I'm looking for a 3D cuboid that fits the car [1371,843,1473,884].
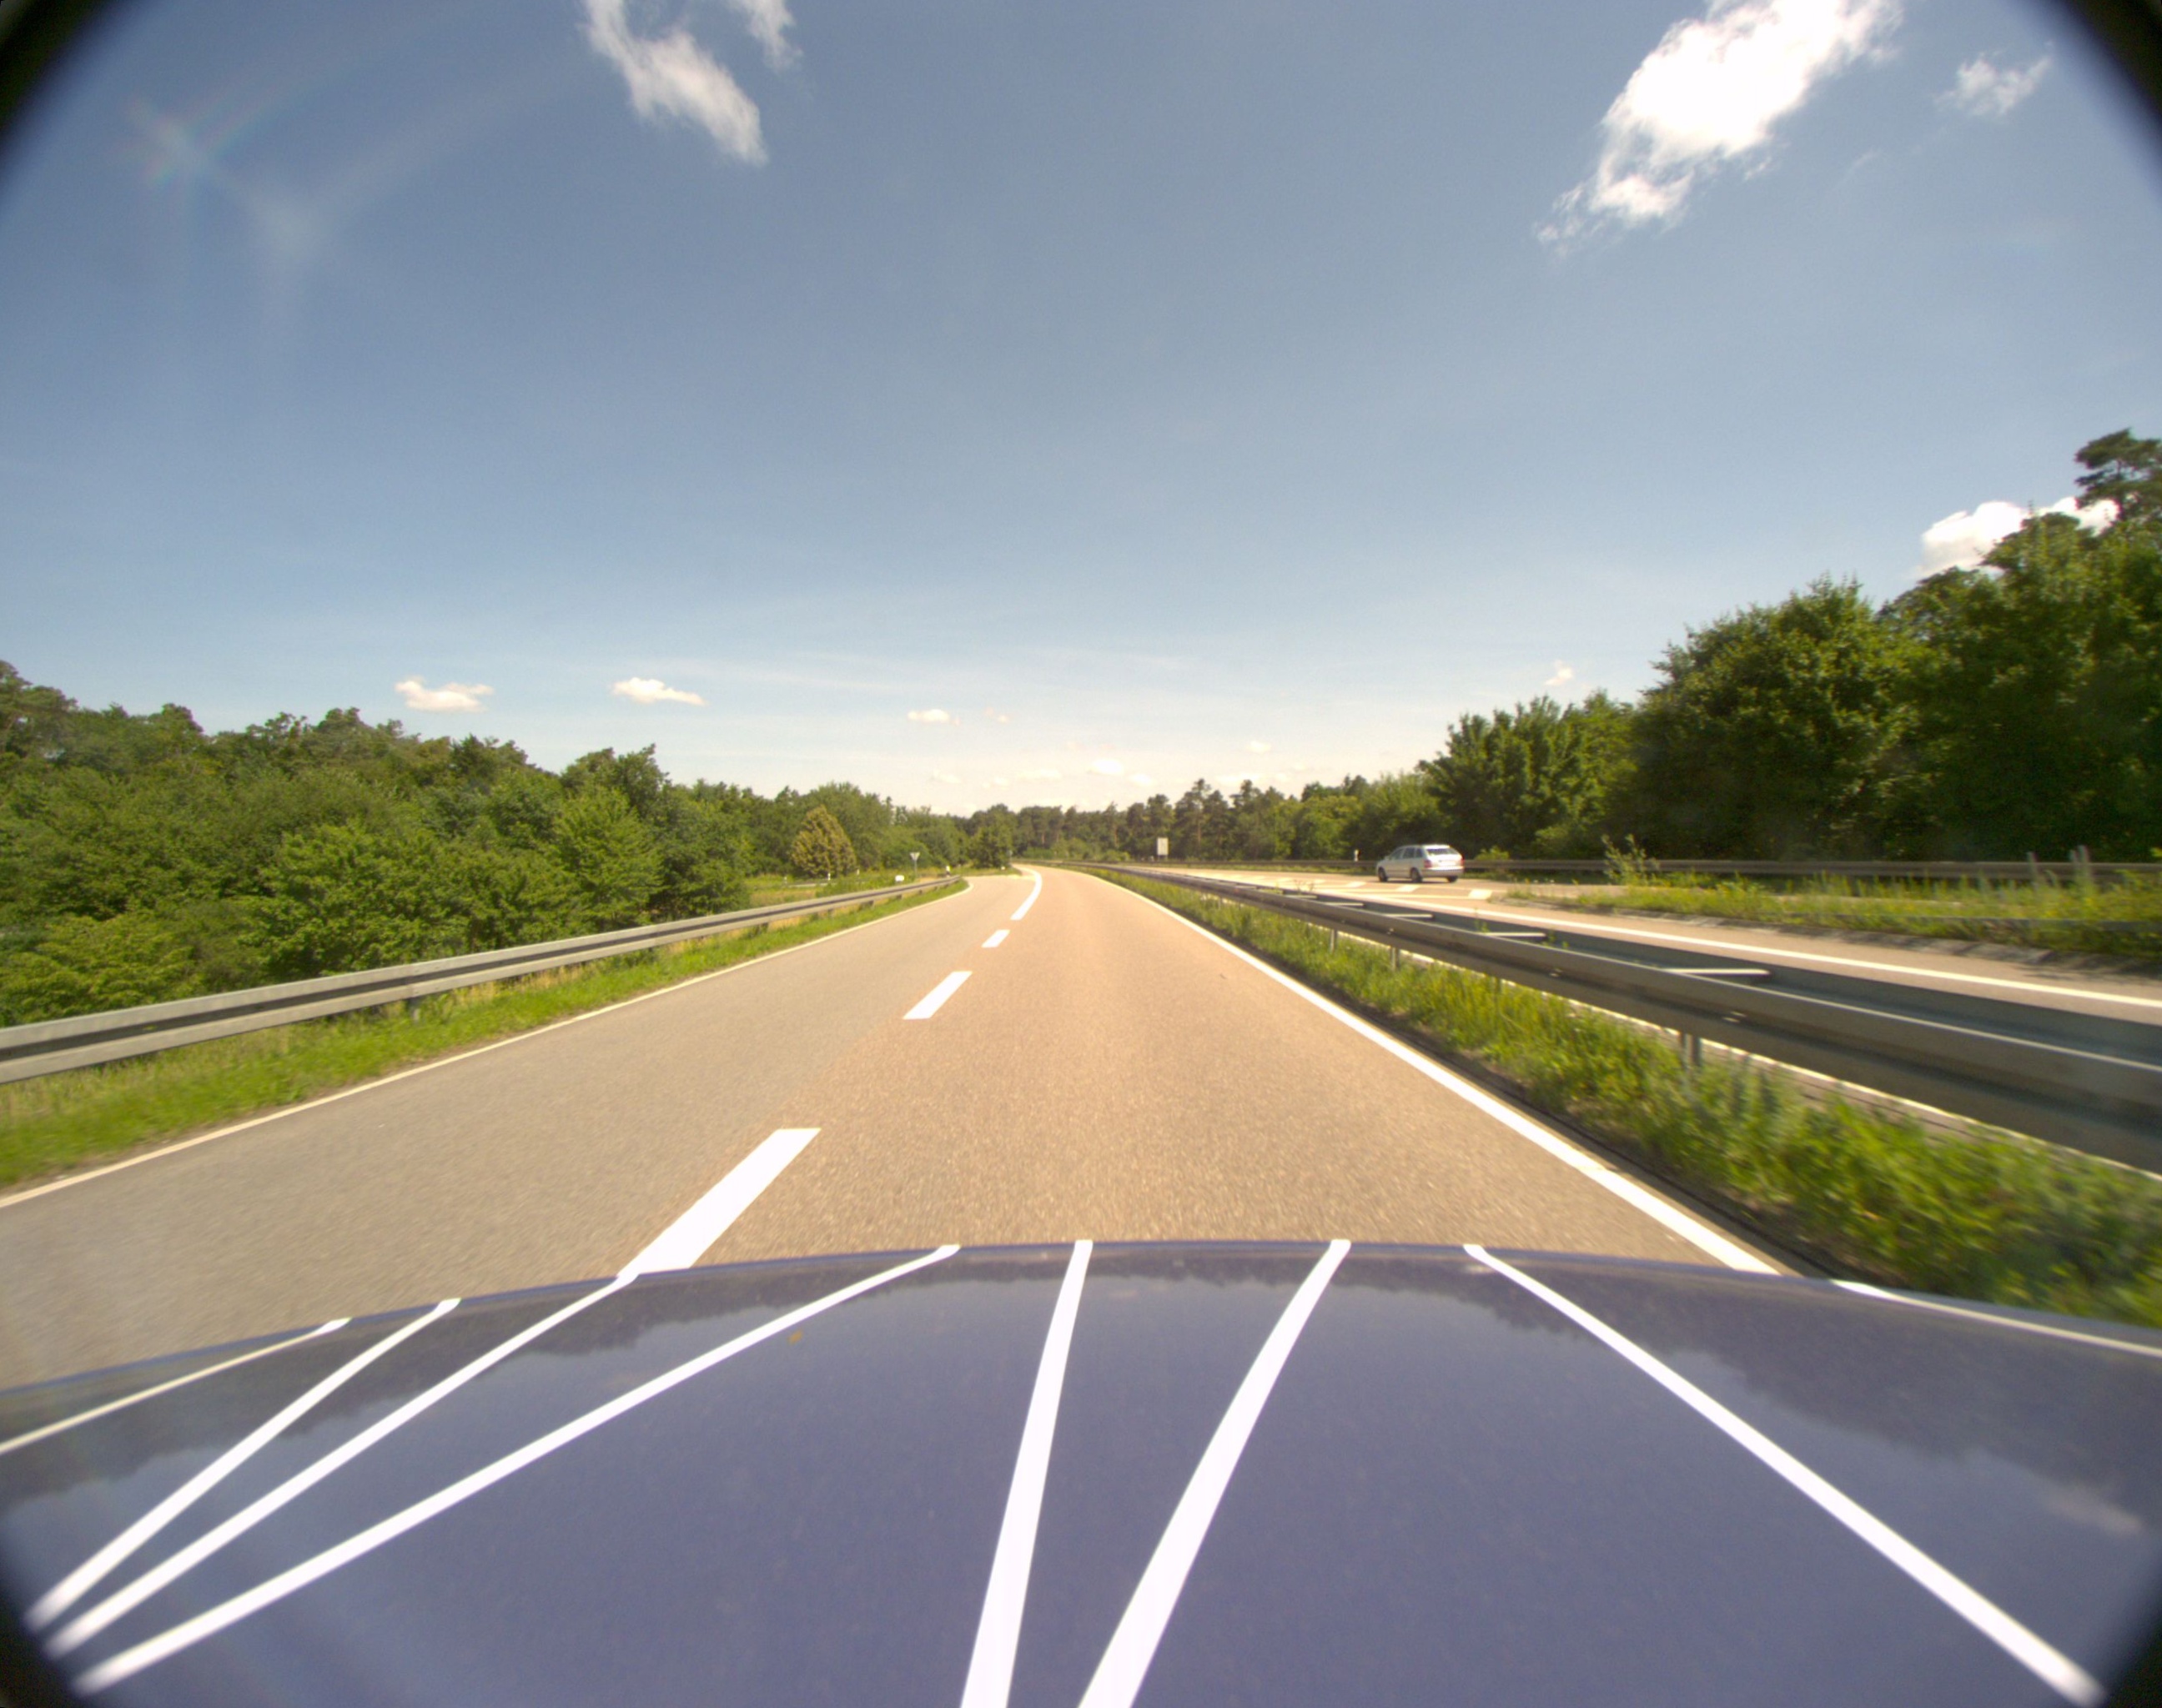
[{"bbox_3d":[13.084,0.361,29.480,1.684,1.419,4.209,-2,0,-6],"label":"car"}]
